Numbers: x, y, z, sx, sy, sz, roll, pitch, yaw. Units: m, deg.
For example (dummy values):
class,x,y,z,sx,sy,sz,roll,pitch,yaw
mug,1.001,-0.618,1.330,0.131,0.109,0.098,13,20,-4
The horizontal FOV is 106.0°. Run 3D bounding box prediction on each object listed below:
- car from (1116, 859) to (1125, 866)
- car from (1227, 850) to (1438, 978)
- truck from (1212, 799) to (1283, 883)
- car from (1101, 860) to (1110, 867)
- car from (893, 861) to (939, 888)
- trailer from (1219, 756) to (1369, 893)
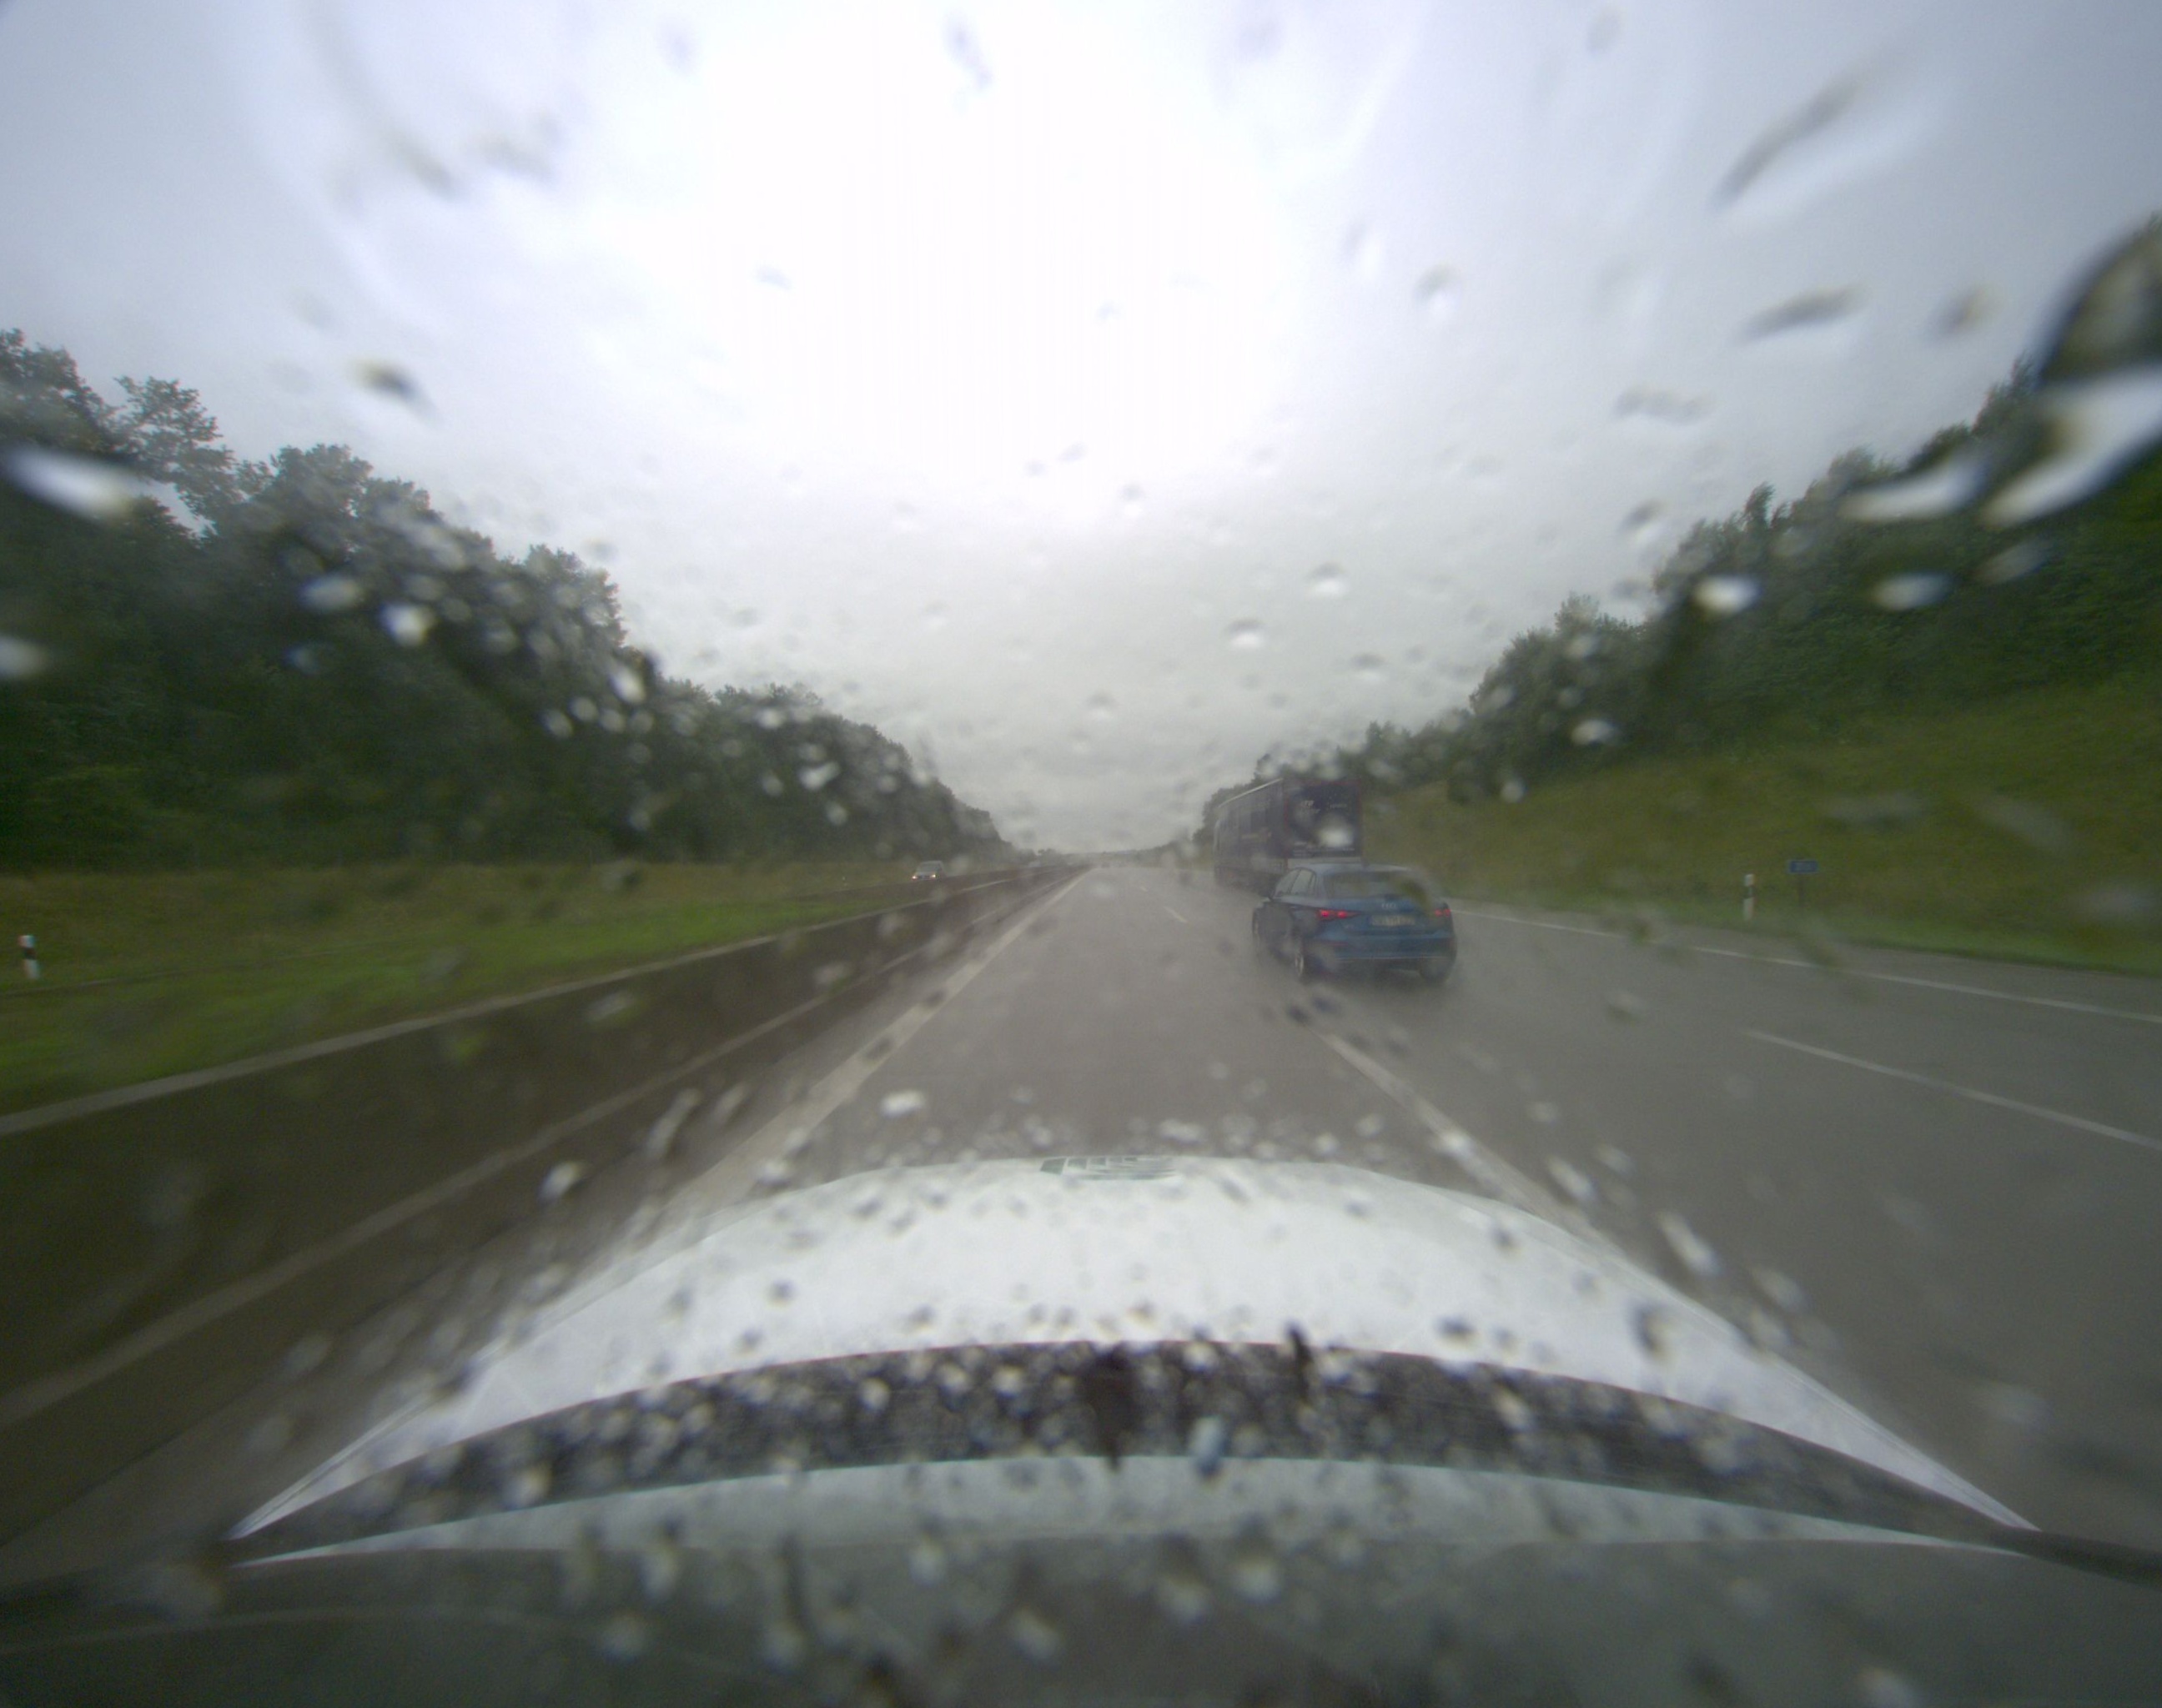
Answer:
class,x,y,z,sx,sy,sz,roll,pitch,yaw
car,8.847,1.919,182.608,1.841,1.331,4.431,-1,0,2
car,3.375,0.754,11.936,1.723,1.459,4.673,-2,-1,1
truck,8.277,-0.597,41.162,2.626,3.954,5.689,0,-1,2
car,5.013,1.892,166.348,1.723,1.331,4.431,-1,0,1
car,-11.017,1.355,54.655,1.872,1.665,4.690,-3,-1,2
trailer,8.115,-0.886,33.679,2.696,4.379,15.211,0,-1,2
